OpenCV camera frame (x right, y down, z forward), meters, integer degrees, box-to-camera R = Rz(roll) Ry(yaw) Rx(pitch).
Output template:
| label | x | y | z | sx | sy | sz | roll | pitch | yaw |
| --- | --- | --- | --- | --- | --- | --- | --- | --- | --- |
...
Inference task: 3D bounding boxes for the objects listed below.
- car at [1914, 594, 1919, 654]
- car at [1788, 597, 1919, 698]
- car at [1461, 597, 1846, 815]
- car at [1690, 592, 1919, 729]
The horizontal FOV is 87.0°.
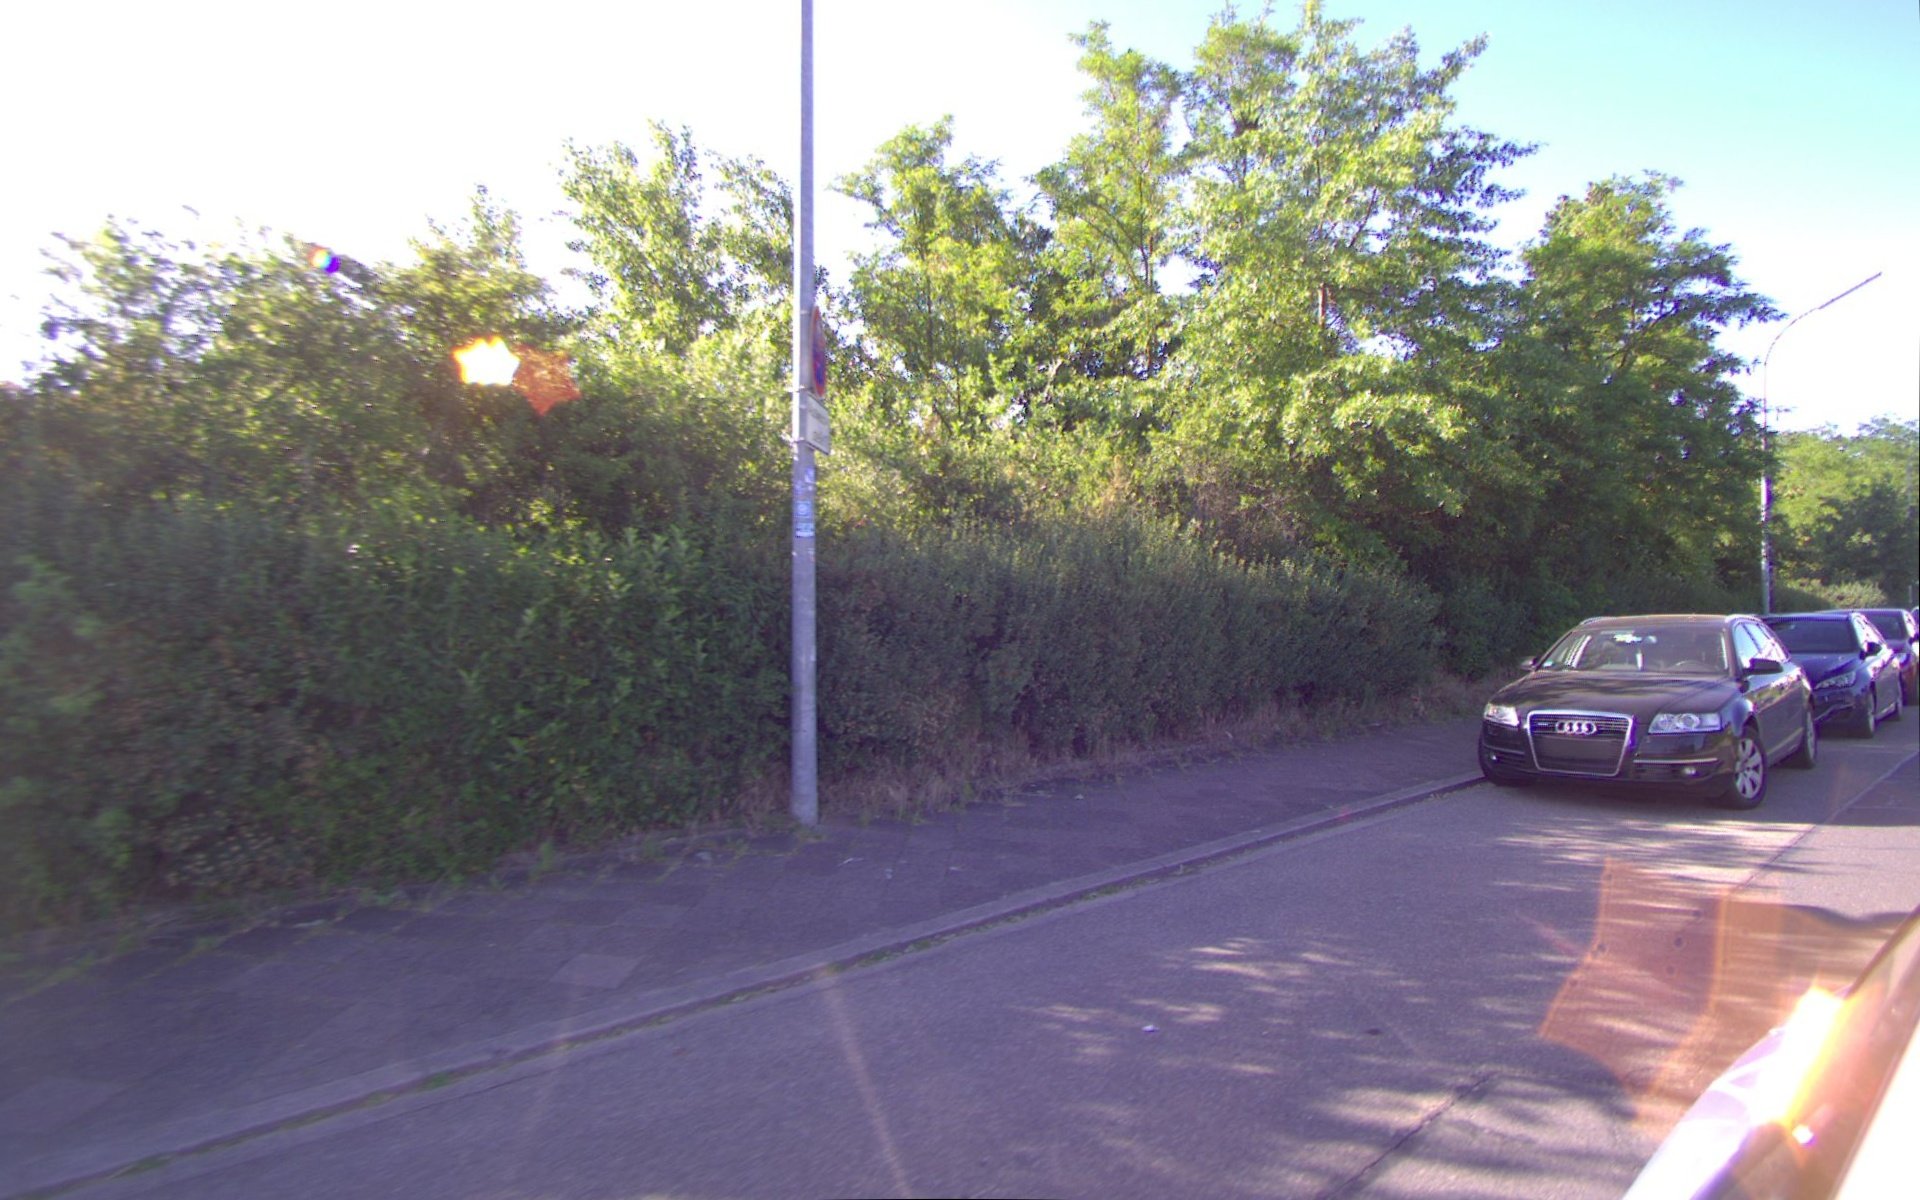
| label | x | y | z | sx | sy | sz | roll | pitch | yaw |
| --- | --- | --- | --- | --- | --- | --- | --- | --- | --- |
| car | 26.397 | 0.567 | 26.570 | 3.493 | 1.558 | 1.558 | -1 | -2 | -41 |
| car | 15.389 | 0.734 | 17.000 | 3.772 | 1.505 | 1.656 | -1 | -2 | -42 |
| car | 6.329 | 0.745 | 8.998 | 4.576 | 1.432 | 1.755 | -1 | -2 | -42 |
| car | 11.098 | 0.677 | 13.108 | 4.576 | 1.463 | 1.656 | -1 | -2 | -42 |
